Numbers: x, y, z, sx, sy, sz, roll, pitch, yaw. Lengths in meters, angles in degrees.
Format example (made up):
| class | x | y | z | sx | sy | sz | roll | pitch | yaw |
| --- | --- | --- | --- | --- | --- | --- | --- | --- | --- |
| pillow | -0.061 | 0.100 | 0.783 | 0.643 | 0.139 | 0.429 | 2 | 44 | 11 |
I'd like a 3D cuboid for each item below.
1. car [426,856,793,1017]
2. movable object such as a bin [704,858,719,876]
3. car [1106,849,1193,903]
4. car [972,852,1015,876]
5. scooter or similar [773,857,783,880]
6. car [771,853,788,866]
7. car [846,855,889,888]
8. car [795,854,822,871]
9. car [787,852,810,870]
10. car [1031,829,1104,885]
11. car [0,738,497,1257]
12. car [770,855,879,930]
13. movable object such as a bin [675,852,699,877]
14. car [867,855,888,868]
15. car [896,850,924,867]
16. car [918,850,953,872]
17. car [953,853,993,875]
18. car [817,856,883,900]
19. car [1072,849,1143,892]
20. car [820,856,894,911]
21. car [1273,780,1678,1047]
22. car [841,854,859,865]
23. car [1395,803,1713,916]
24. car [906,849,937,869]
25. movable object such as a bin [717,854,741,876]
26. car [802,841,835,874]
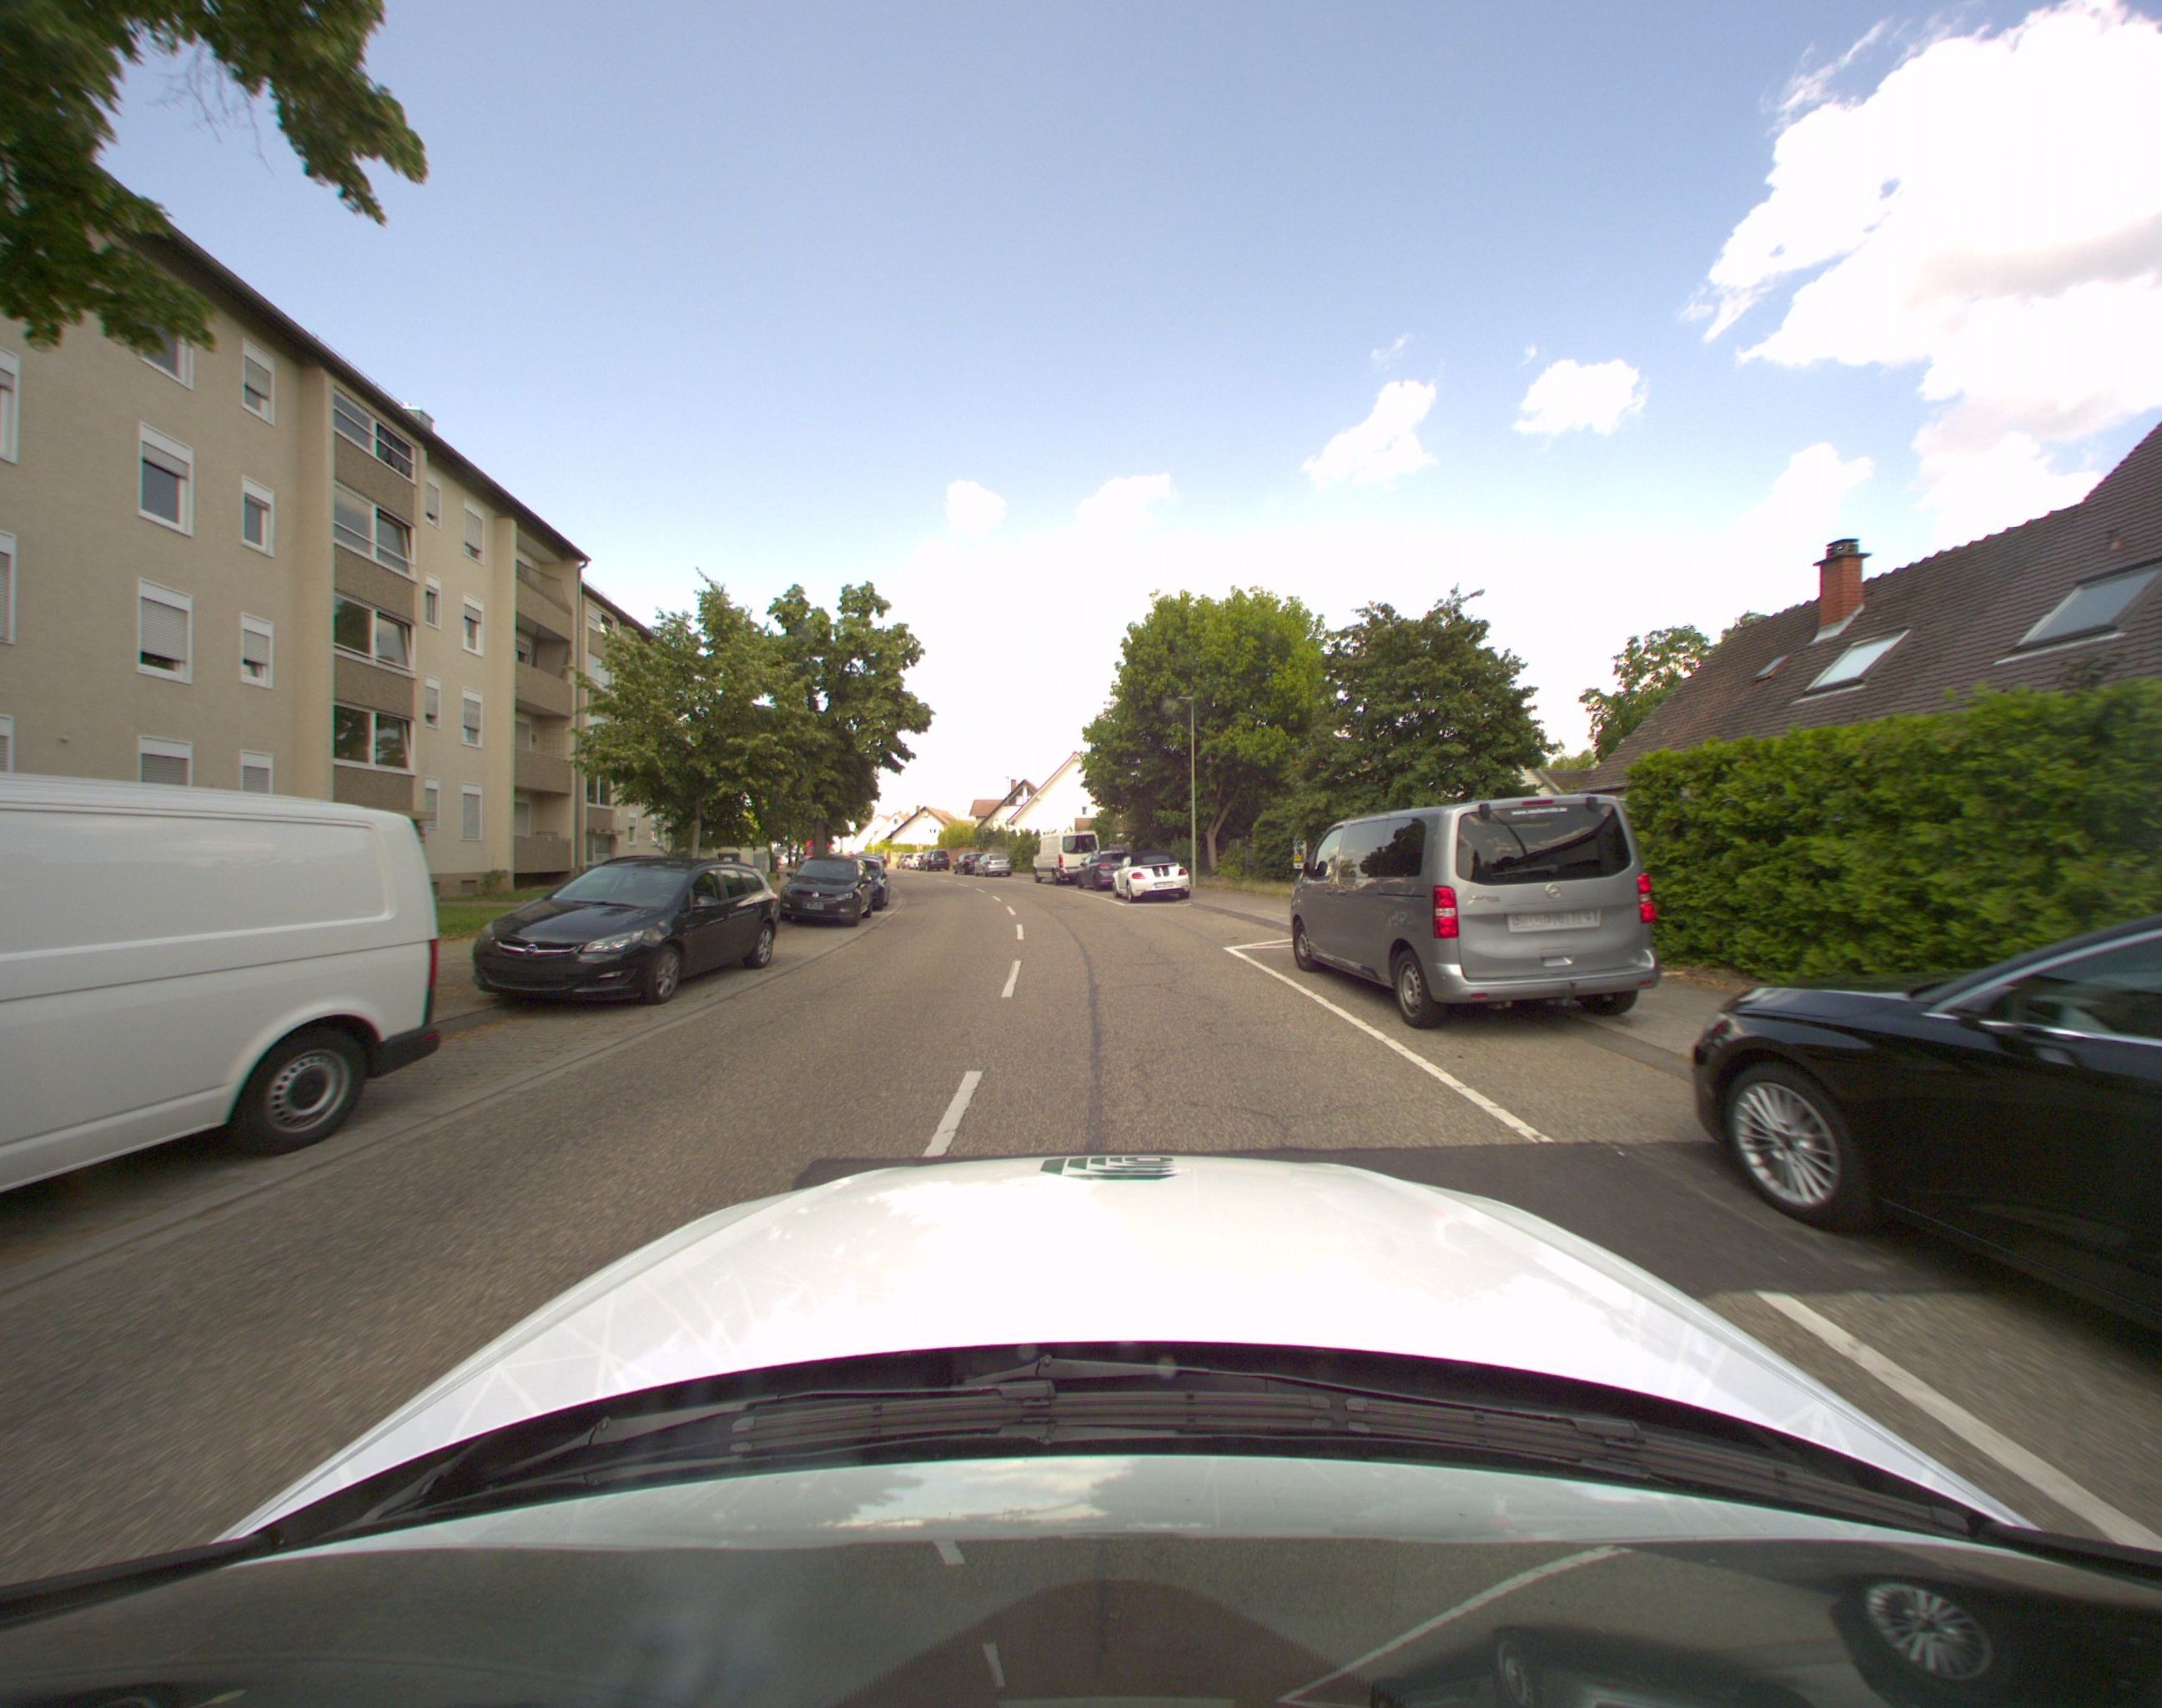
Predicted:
| class | x | y | z | sx | sy | sz | roll | pitch | yaw |
| --- | --- | --- | --- | --- | --- | --- | --- | --- | --- |
| car | -5.201 | 0.774 | 9.861 | 1.754 | 1.489 | 4.505 | 0 | 0 | 1 |
| movable object such as a bin | -22.768 | 0.807 | 50.197 | 0.625 | 1.024 | 0.875 | -1 | 3 | -11 |
| car | 2.012 | 0.635 | 25.222 | 1.739 | 1.512 | 4.446 | 0 | 0 | -8 |
| car | -5.665 | 0.638 | 52.196 | 1.743 | 1.457 | 4.335 | 0 | 0 | -20 |
| scooter or similar | -15.507 | 0.733 | 41.663 | 0.420 | 1.165 | 1.133 | 1 | 0 | -19 |
| car | -41.984 | 0.753 | 113.435 | 1.796 | 1.601 | 4.398 | 4 | -2 | -25 |
| car | -10.705 | 0.823 | 40.662 | 1.765 | 1.489 | 4.317 | 2 | 0 | -18 |
| car | -25.613 | 0.808 | 76.479 | 1.796 | 1.458 | 4.398 | 4 | -2 | -25 |
| car | -30.555 | 0.749 | 87.924 | 1.796 | 1.746 | 4.398 | 4 | -2 | -25 |
| car | -0.740 | 0.136 | 38.368 | 2.121 | 2.441 | 5.864 | 0 | 0 | -15 |
| car | -5.112 | 0.537 | 2.961 | 1.871 | 2.009 | 5.327 | 1 | 0 | 3 |
| car | -5.791 | 0.805 | 18.821 | 1.760 | 1.489 | 4.020 | 2 | 0 | -9 |
| movable object such as a bin | -23.942 | 0.621 | 49.461 | 1.201 | 1.437 | 1.361 | -2 | 4 | -23 |
| car | -23.446 | 0.833 | 93.700 | 1.803 | 1.523 | 3.942 | 0 | 0 | -24 |
| car | -16.416 | 0.414 | 78.218 | 1.803 | 1.523 | 3.941 | 0 | 0 | -25 |
| car | -12.244 | 0.545 | 68.220 | 1.803 | 1.748 | 4.546 | 0 | 0 | -25 |
| car | -7.658 | 0.677 | 57.358 | 1.744 | 1.509 | 4.442 | 0 | 0 | -22 |
| car | -8.372 | 0.815 | 29.826 | 1.836 | 1.439 | 4.078 | 2 | -1 | -9 |
| car | 0.957 | 0.597 | 32.071 | 1.720 | 1.585 | 4.103 | 0 | 0 | -15 |
| car | -6.732 | 0.859 | 24.886 | 1.761 | 1.489 | 4.554 | 2 | -1 | -10 |
| car | 3.569 | 0.444 | 8.615 | 1.837 | 1.944 | 4.875 | -3 | 0 | 0 |
| car | -32.777 | 0.791 | 115.502 | 1.803 | 1.523 | 4.496 | 0 | 0 | -24 |
| car | 9.290 | 0.088 | 16.578 | 5.299 | 2.057 | 2.009 | 0 | 0 | 17 |
| car | -14.505 | 0.418 | 73.901 | 1.804 | 1.748 | 3.939 | 0 | 0 | -26 |
| movable object such as a bin | -21.778 | 0.675 | 50.409 | 1.193 | 1.274 | 0.875 | -1 | 3 | -12 |
| car | -21.570 | 0.270 | 66.728 | 2.071 | 2.501 | 5.798 | 4 | -1 | -21 |
